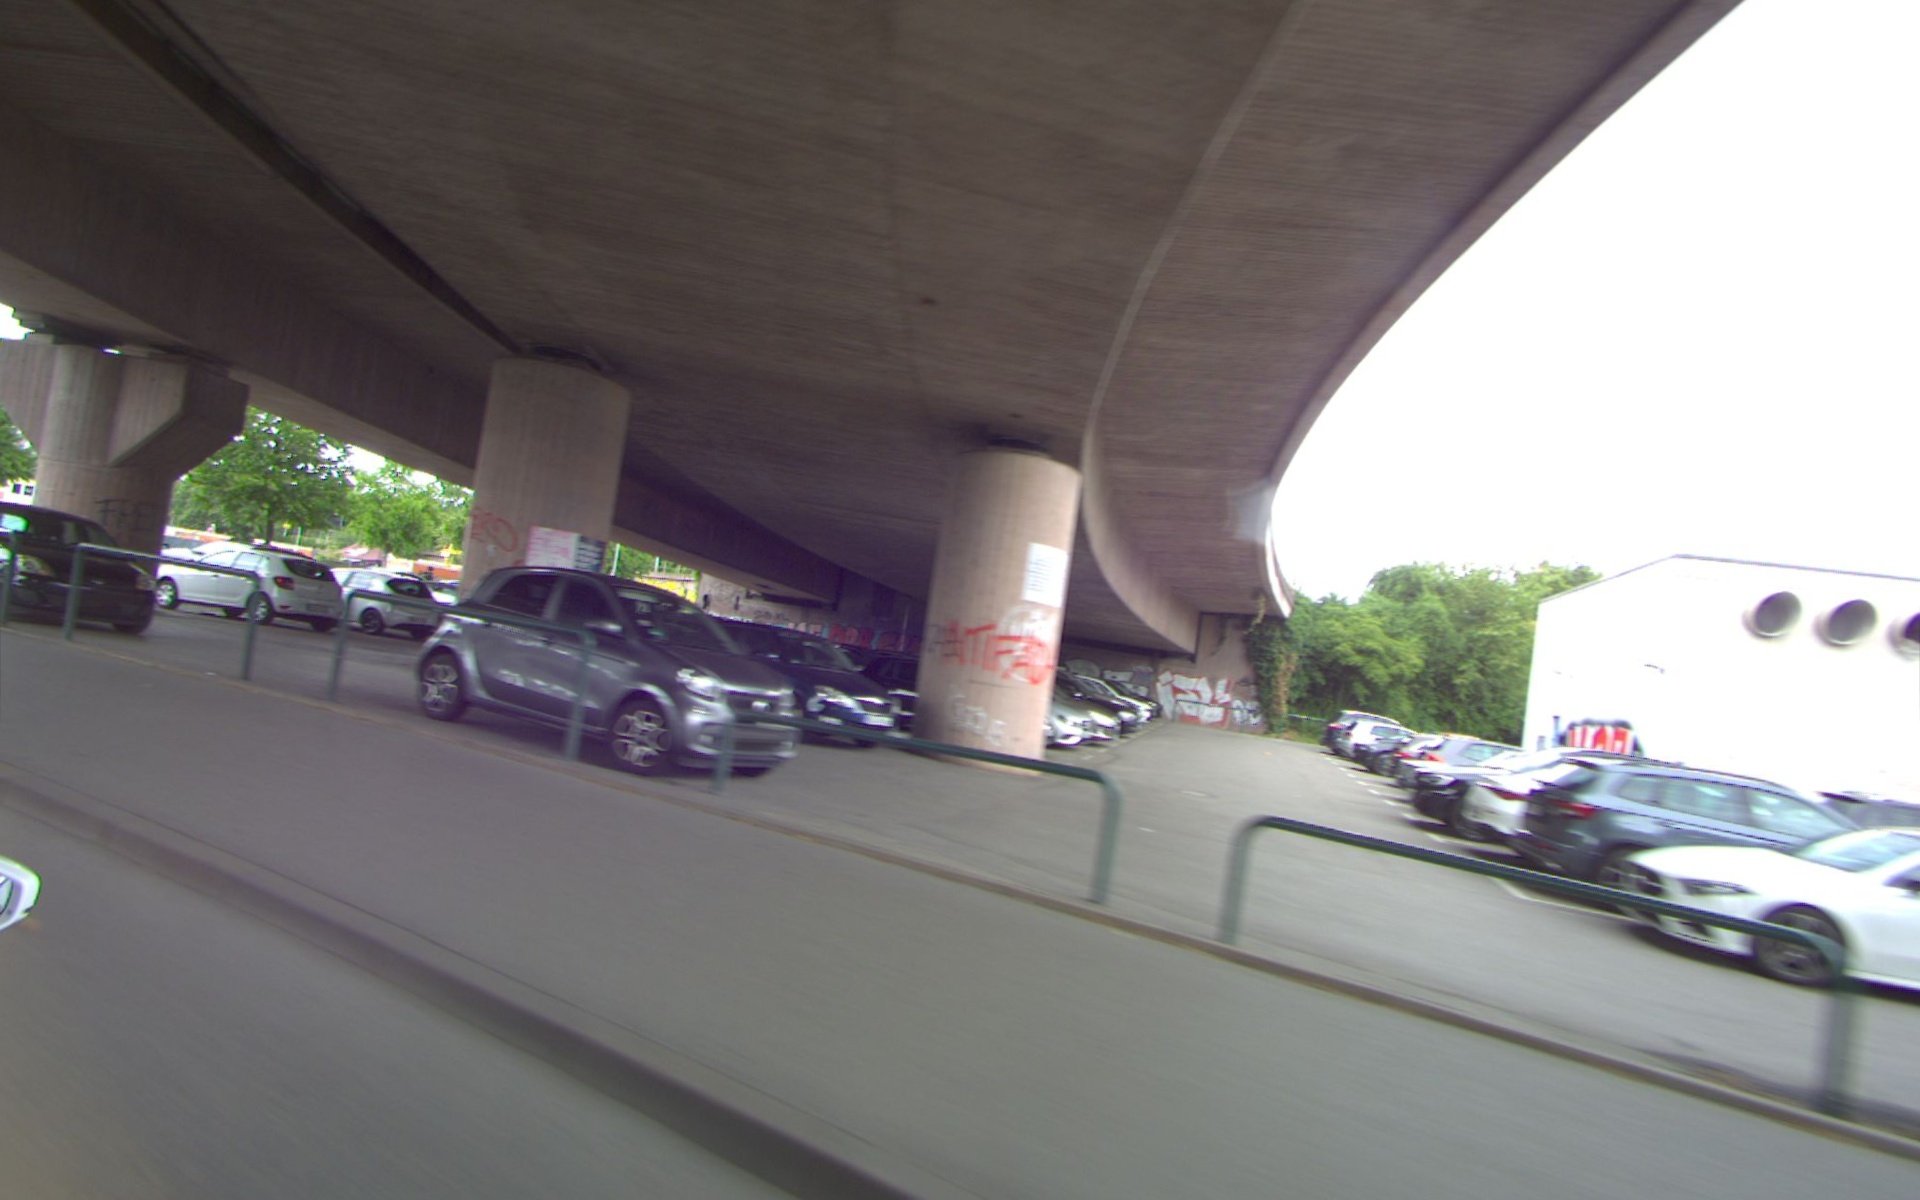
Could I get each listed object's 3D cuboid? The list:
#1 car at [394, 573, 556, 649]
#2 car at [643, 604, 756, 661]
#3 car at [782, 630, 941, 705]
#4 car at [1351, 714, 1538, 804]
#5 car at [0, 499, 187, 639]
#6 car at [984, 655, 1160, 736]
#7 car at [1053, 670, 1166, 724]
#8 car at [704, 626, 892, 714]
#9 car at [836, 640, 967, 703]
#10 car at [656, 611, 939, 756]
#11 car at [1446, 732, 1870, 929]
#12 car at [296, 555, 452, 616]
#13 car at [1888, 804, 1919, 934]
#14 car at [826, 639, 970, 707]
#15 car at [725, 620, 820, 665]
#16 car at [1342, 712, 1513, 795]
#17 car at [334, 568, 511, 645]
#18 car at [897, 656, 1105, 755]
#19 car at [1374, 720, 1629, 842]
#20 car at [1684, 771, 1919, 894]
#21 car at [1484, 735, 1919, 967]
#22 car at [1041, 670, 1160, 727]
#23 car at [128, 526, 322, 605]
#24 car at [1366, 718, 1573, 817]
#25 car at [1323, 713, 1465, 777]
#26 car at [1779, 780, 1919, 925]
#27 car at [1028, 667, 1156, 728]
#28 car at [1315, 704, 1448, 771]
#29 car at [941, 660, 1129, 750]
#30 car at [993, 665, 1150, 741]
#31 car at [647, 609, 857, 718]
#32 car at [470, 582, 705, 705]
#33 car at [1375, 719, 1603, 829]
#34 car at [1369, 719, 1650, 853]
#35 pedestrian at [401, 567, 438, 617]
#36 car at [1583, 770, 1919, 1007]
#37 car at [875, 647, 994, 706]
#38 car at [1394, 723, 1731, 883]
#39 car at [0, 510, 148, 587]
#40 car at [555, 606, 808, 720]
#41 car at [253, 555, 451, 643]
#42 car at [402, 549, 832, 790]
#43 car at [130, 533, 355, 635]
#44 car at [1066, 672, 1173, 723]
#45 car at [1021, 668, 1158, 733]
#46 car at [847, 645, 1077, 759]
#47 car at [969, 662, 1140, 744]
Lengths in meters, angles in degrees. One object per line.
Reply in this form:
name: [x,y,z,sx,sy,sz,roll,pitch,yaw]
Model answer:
car: [-13.979,0.332,29.095,3.788,1.572,1.701,8,-2,10]
car: [-10.364,1.320,40.173,3.788,1.656,1.761,8,-2,10]
car: [-2.670,1.854,27.616,3.789,1.443,1.841,8,-3,17]
car: [12.831,4.186,26.934,4.113,1.610,1.841,8,-2,17]
car: [-12.025,-0.497,13.088,3.517,1.411,1.613,7,-4,27]
car: [3.533,2.953,31.433,5.010,1.695,2.094,8,-3,17]
car: [6.016,3.878,40.264,4.113,1.482,1.841,8,-3,17]
car: [-3.774,1.637,23.618,3.789,1.443,1.841,8,-3,17]
car: [-1.890,2.325,32.782,3.789,1.443,1.682,8,-3,17]
car: [-2.399,1.156,14.419,3.804,1.522,1.787,4,-6,40]
car: [8.969,2.918,13.370,4.113,1.610,1.841,8,-2,17]
car: [-19.213,-0.414,33.228,1.738,1.335,4.383,8,-3,15]
car: [14.014,3.654,11.879,4.010,1.574,1.759,8,-2,17]
car: [-1.835,2.195,30.225,3.789,1.443,1.841,8,-3,17]
car: [-8.655,1.964,46.609,3.788,1.495,1.761,8,-2,10]
car: [13.494,4.412,29.309,4.113,1.610,1.841,8,-2,17]
car: [-14.387,0.192,27.003,3.788,1.459,1.701,8,-2,10]
car: [0.943,2.295,22.236,4.113,1.482,1.841,8,-3,17]
car: [10.843,3.593,20.486,4.113,1.610,1.841,8,-2,17]
car: [16.246,4.343,18.608,4.180,1.525,1.712,8,-2,17]
car: [8.305,2.656,11.020,4.113,1.610,1.841,8,-2,17]
car: [5.317,3.683,37.937,4.113,1.482,1.841,8,-3,17]
car: [-20.411,-0.894,28.198,1.482,1.435,4.257,9,-3,15]
car: [12.374,4.040,24.724,4.113,1.610,1.841,8,-2,17]
car: [14.783,4.927,34.488,4.113,1.424,1.841,8,-3,17]
car: [14.729,3.852,14.256,4.348,1.710,1.759,8,-2,17]
car: [4.668,3.426,35.477,4.113,1.482,1.841,8,-3,17]
car: [15.297,4.983,36.707,4.113,1.707,1.841,8,-2,17]
car: [1.841,2.507,24.341,4.113,1.482,1.841,8,-3,17]
car: [3.250,2.945,29.039,4.113,1.482,1.841,8,-3,17]
car: [-4.410,1.354,21.473,3.789,1.717,1.841,8,-2,17]
car: [-6.311,0.759,17.152,3.311,1.515,1.534,8,-5,17]
car: [11.738,3.834,22.634,4.113,1.610,1.841,8,-2,17]
car: [9.974,3.345,18.640,4.113,1.610,1.841,8,-2,17]
pedestrian: [-22.514,-0.322,41.925,0.723,1.928,0.827,7,-3,14]
car: [8.146,2.623,8.803,4.113,1.437,1.841,8,-3,17]
car: [-0.871,2.623,34.510,3.594,1.443,1.682,8,-3,17]
car: [9.341,3.107,15.997,4.113,1.610,1.841,8,-2,17]
car: [-21.543,-1.285,23.494,1.482,1.344,3.707,8,-3,16]
car: [-5.377,1.221,19.458,4.299,1.485,1.842,7,-4,21]
car: [-14.785,-0.007,24.540,3.788,1.526,1.701,8,-2,10]
car: [-3.101,0.598,9.081,3.350,1.549,1.613,7,-4,27]
car: [-15.559,-0.329,21.873,3.935,1.569,1.642,7,-2,13]
car: [6.760,4.106,42.512,4.113,1.482,1.841,8,-3,17]
car: [4.323,3.322,33.447,4.113,1.482,1.841,8,-3,17]
car: [0.074,2.014,20.212,4.113,1.567,1.841,8,-3,17]
car: [2.534,2.717,26.764,4.113,1.482,1.841,8,-3,17]
